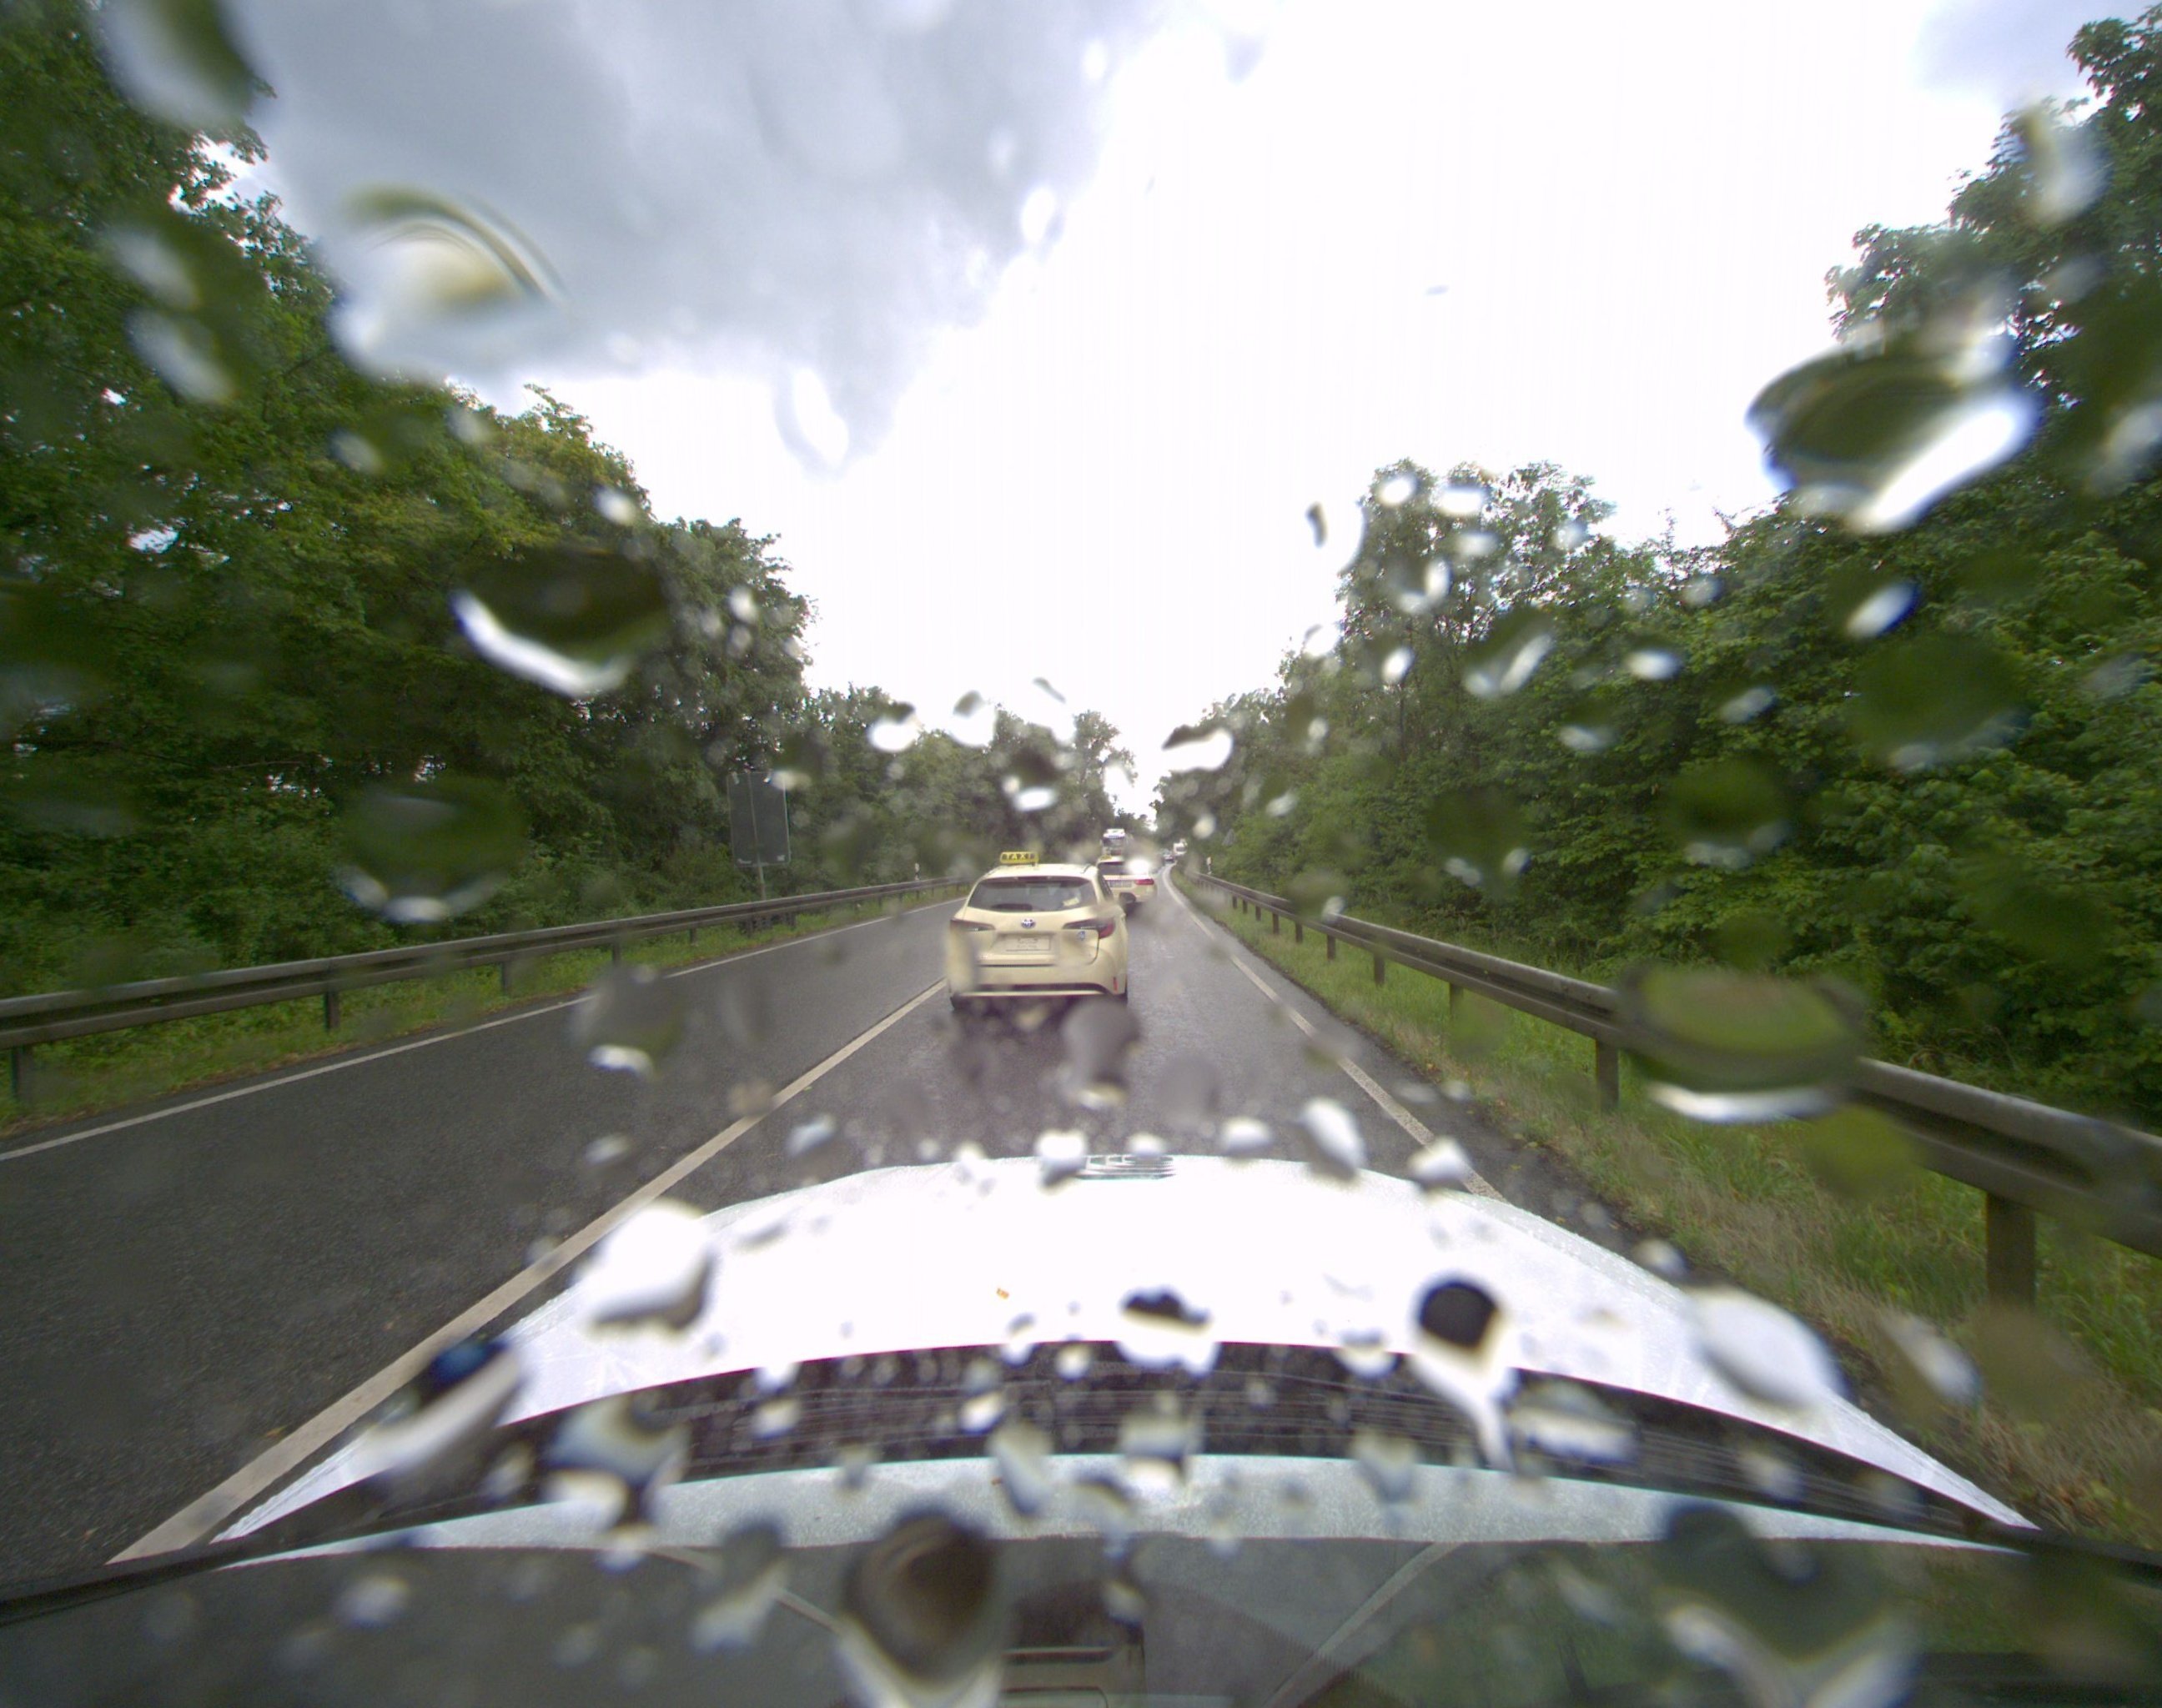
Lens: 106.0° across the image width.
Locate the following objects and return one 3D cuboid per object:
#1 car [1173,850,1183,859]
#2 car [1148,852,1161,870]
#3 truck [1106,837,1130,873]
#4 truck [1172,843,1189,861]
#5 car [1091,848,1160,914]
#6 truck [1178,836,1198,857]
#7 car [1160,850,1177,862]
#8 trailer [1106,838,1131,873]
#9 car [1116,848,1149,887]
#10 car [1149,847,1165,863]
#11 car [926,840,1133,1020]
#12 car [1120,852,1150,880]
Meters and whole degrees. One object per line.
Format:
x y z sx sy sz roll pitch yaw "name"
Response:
21.235 0.168 178.341 1.572 2.014 3.777 -1 -1 15 "car"
6.451 0.647 71.568 1.161 1.547 2.608 0 -1 5 "car"
4.002 0.129 87.505 2.526 3.825 5.248 0 -1 2 "truck"
15.717 -0.324 128.836 2.537 2.713 7.547 0 -1 6 "truck"
1.205 0.679 21.661 1.660 1.580 3.896 0 -1 4 "car"
19.505 -1.373 147.934 3.086 3.680 7.022 0 -1 12 "truck"
11.371 0.265 105.931 1.758 1.547 3.826 0 -1 12 "car"
4.345 0.177 92.885 2.524 3.825 7.800 0 -1 4 "trailer"
2.135 0.543 33.796 1.295 1.547 3.263 0 -1 4 "car"
8.026 0.129 85.653 1.608 1.613 3.626 0 -1 5 "car"
-0.375 0.689 9.252 1.826 1.580 4.159 0 -1 2 "car"
3.109 0.678 47.128 1.604 1.547 3.817 -1 0 3 "car"
